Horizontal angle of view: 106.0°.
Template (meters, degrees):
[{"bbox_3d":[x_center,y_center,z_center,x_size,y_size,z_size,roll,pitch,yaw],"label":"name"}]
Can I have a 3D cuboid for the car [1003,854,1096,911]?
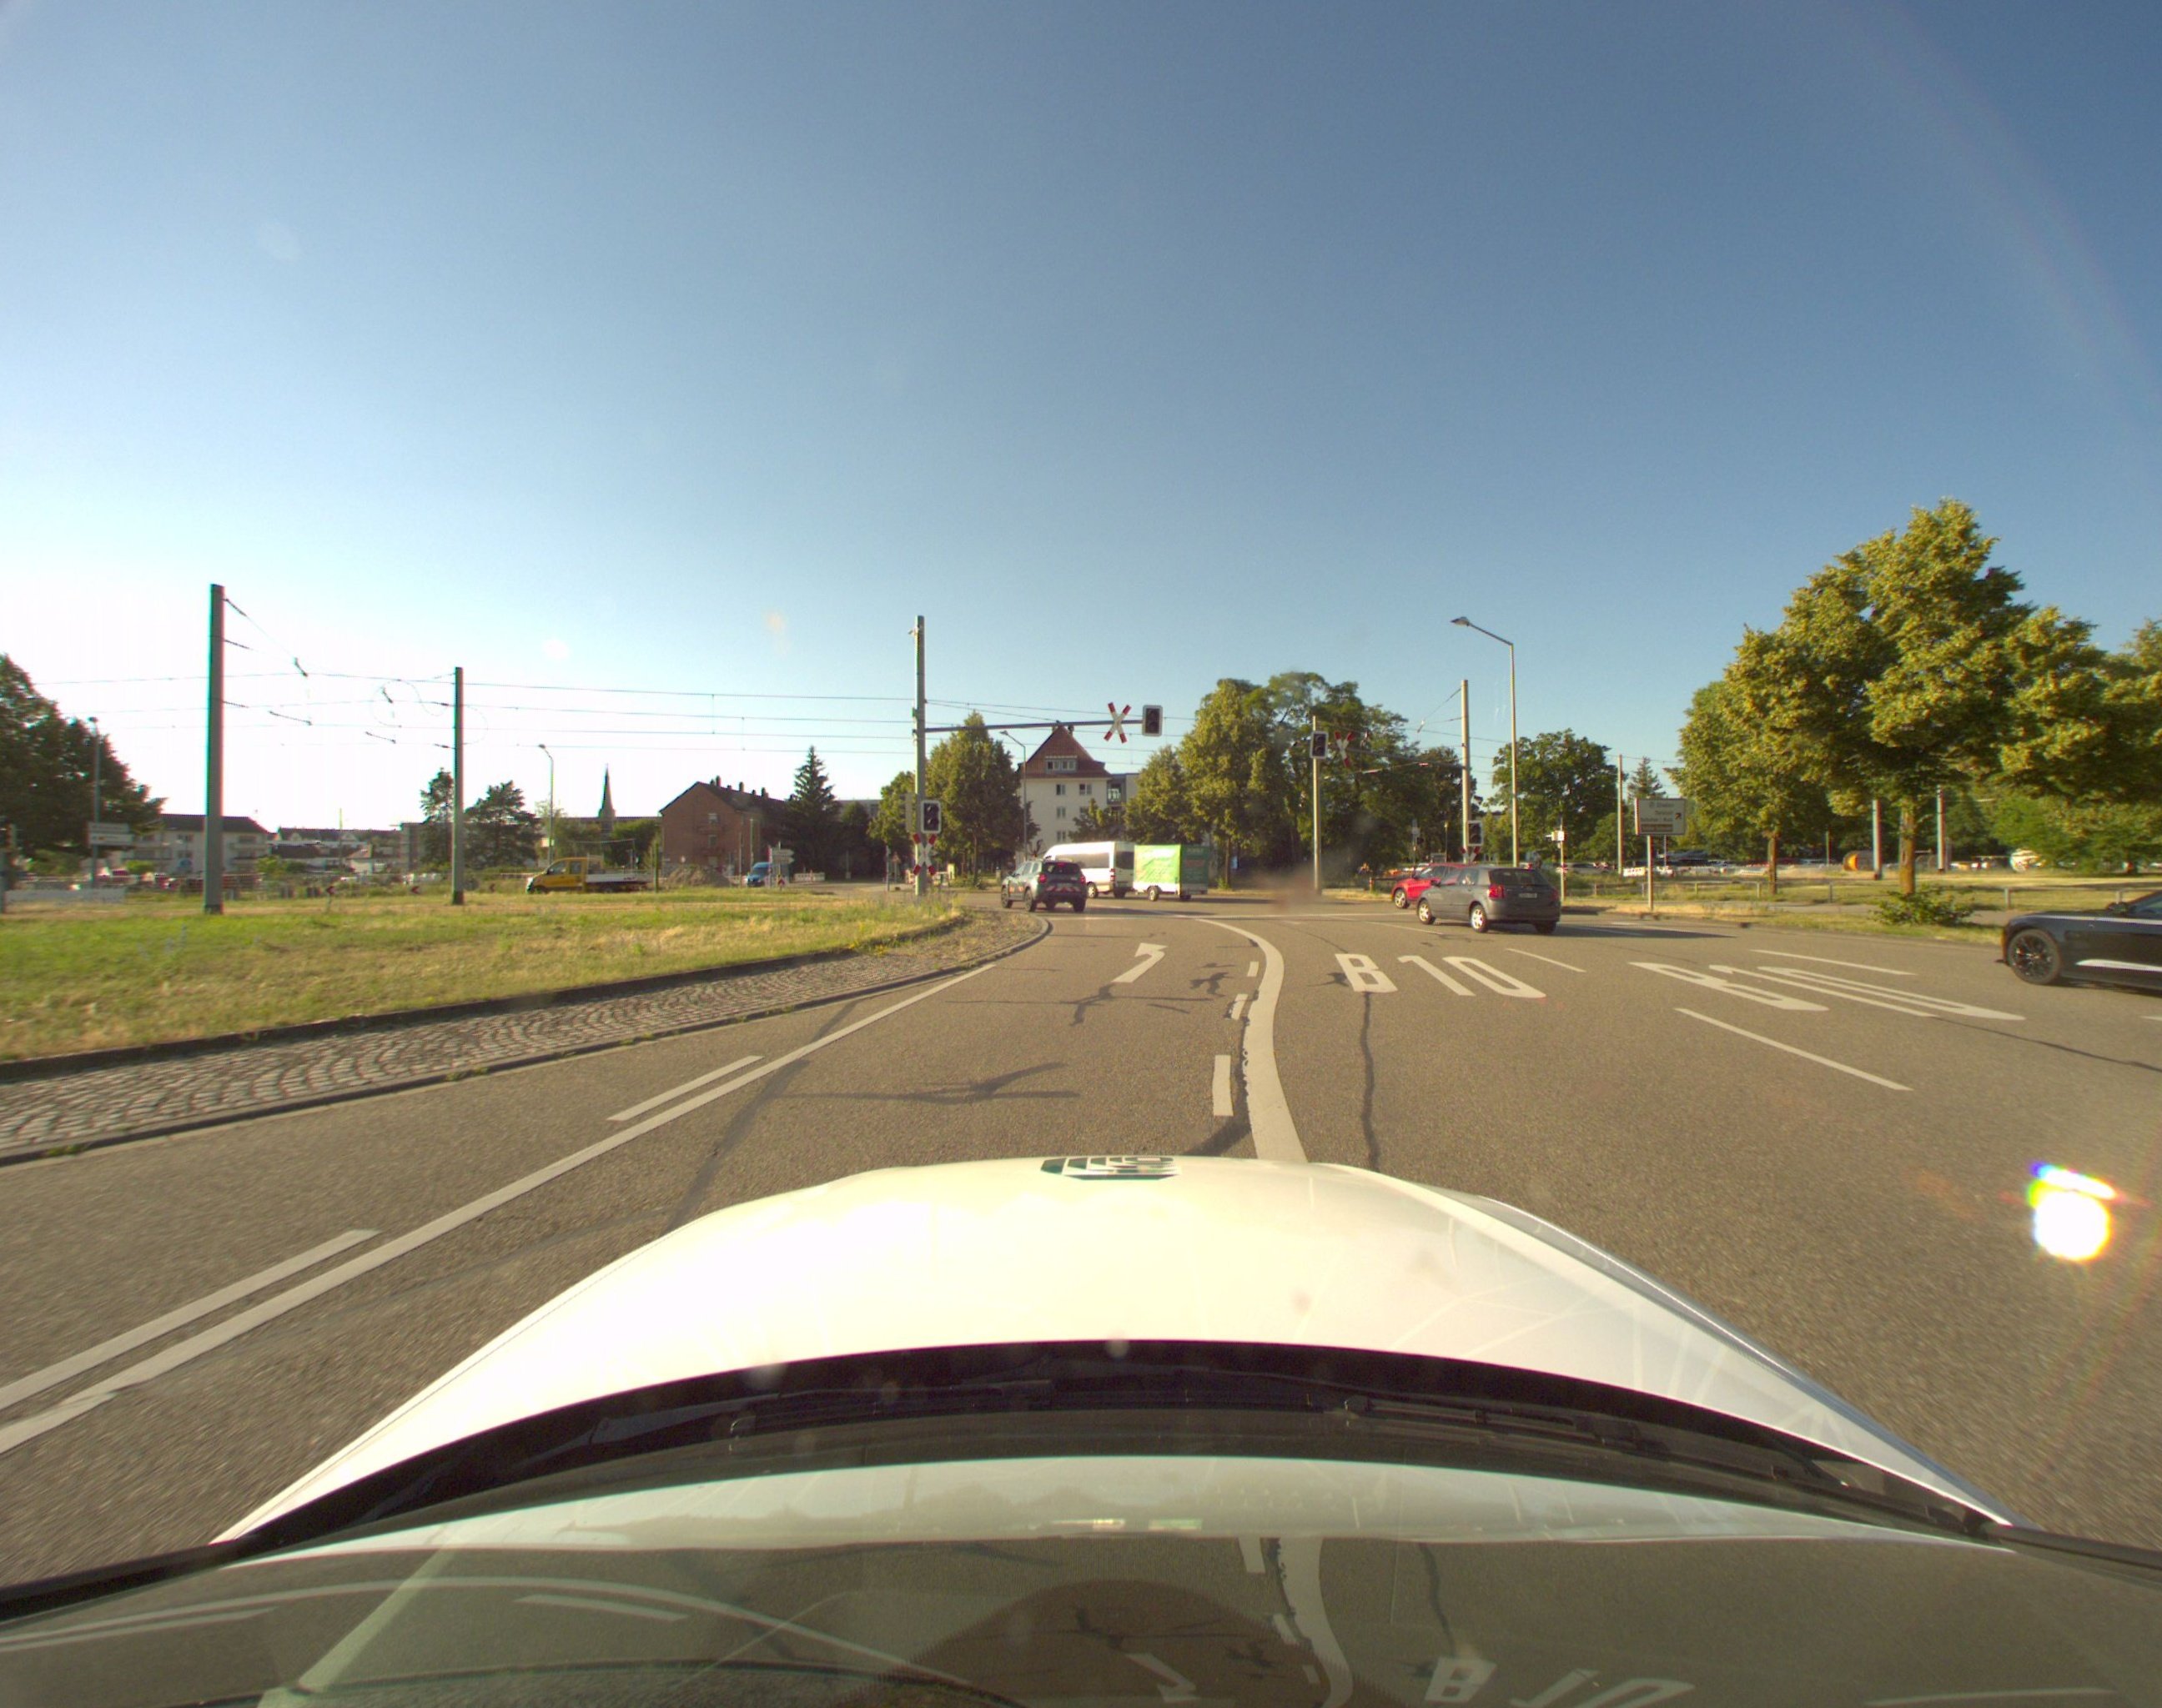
[{"bbox_3d":[-1.098,0.876,26.166,1.911,1.660,3.974,0,-1,-19],"label":"car"}]

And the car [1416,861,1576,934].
[{"bbox_3d":[9.406,0.920,18.836,1.742,1.473,3.819,-1,0,0],"label":"car"}]

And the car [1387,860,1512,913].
[{"bbox_3d":[12.295,1.025,27.452,1.752,1.621,3.796,-1,0,-18],"label":"car"}]

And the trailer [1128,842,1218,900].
[{"bbox_3d":[3.941,0.740,35.238,2.105,2.401,3.464,2,-2,-34],"label":"trailer"}]

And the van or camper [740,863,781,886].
[{"bbox_3d":[-30.937,1.959,78.743,2.085,2.154,4.425,-1,-1,2],"label":"van or camper"}]

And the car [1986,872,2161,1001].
[{"bbox_3d":[12.383,0.891,8.450,1.840,1.338,4.644,0,0,16],"label":"car"}]

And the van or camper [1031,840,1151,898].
[{"bbox_3d":[0.364,0.727,39.898,2.303,2.629,6.508,1,-1,-38],"label":"van or camper"}]

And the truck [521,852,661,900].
[{"bbox_3d":[-27.672,1.218,46.236,6.224,2.558,2.583,-1,-1,-7],"label":"truck"}]
